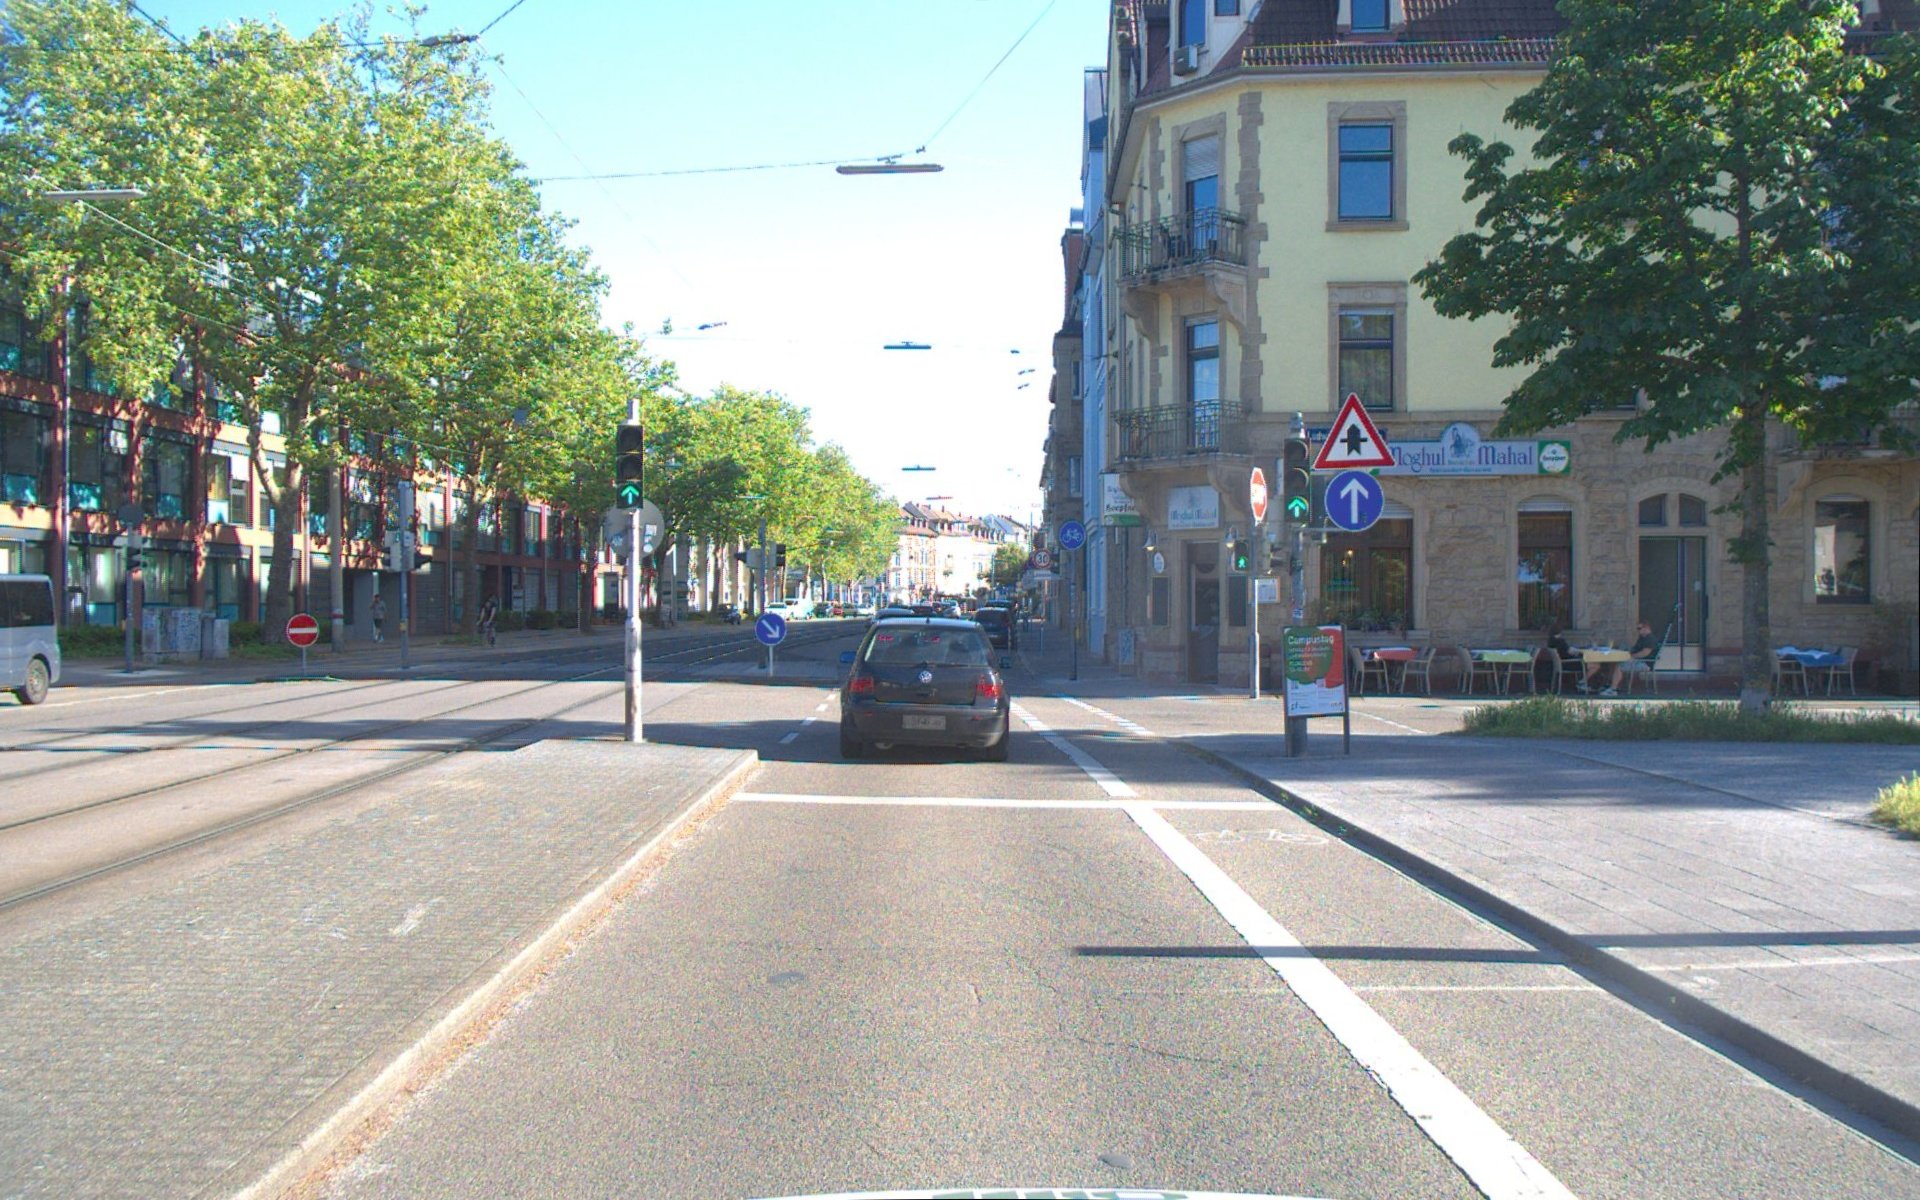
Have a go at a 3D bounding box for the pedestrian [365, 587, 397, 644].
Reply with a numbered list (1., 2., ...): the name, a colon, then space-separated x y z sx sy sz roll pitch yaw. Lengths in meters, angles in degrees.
1. pedestrian: -21.206 0.565 60.601 0.893 2.049 0.780 2 0 -7

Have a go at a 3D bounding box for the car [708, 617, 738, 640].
1. car: -16.779 2.041 117.307 1.476 1.479 3.463 -1 -2 2

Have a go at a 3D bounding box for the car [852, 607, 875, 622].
1. car: -10.618 1.576 182.016 1.715 1.544 4.074 -2 -1 8

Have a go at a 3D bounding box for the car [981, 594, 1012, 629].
1. car: 2.090 0.642 94.282 1.716 1.888 4.816 1 0 2

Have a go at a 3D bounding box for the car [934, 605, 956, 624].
1. car: -1.201 1.126 131.895 1.602 1.498 3.730 0 0 2

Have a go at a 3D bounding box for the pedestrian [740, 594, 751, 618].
1. pedestrian: -17.489 0.487 135.018 0.771 1.902 0.669 2 0 -13

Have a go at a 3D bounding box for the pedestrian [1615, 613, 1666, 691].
1. pedestrian: 12.344 0.933 30.006 0.625 1.383 0.702 2 0 3

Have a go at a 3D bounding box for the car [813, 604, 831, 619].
1. car: -14.683 1.184 175.985 1.537 1.560 3.573 0 -1 2

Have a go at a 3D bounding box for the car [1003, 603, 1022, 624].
1. car: 4.990 1.265 157.427 1.722 1.870 3.548 2 0 2

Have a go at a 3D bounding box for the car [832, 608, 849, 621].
1. car: -13.918 1.701 192.760 1.537 1.560 3.573 0 -1 2

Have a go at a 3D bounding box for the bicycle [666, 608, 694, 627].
1. bicycle: -20.972 1.310 123.932 1.967 1.301 0.664 1 0 2

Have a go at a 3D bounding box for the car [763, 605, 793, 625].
1. car: -15.570 1.293 141.625 1.970 1.600 4.693 2 0 0

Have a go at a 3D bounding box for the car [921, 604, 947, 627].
1. car: -1.746 1.029 112.227 1.602 1.498 3.730 0 0 2

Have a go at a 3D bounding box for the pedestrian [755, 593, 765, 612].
1. pedestrian: -19.684 0.215 162.695 0.780 1.852 0.670 2 0 2

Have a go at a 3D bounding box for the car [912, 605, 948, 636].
1. car: -1.483 1.015 82.142 1.602 1.498 3.730 0 0 2

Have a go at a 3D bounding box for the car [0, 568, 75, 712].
1. car: -14.647 0.604 23.043 1.979 2.048 5.247 -2 1 -3

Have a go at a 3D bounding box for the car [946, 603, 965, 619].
1. car: -0.388 0.993 151.711 1.602 1.498 3.730 0 0 2

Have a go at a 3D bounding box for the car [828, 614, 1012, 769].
1. car: -0.358 0.870 17.472 1.712 1.399 4.000 0 0 0

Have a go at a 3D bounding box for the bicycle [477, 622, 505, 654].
1. bicycle: -16.687 1.338 58.923 0.632 1.061 1.922 2 0 -7

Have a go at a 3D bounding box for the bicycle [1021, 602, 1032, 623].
1. bicycle: 3.676 0.688 91.500 0.504 1.159 2.259 -2 0 1

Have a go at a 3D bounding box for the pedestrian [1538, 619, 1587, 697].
1. pedestrian: 10.977 1.052 30.152 0.625 1.383 0.702 2 0 3

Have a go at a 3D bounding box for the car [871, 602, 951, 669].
1. car: -1.172 0.833 40.919 1.712 1.564 3.893 0 0 2

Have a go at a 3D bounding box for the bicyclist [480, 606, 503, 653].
1. bicyclist: -16.679 1.048 58.905 0.632 1.639 0.780 2 0 -7
